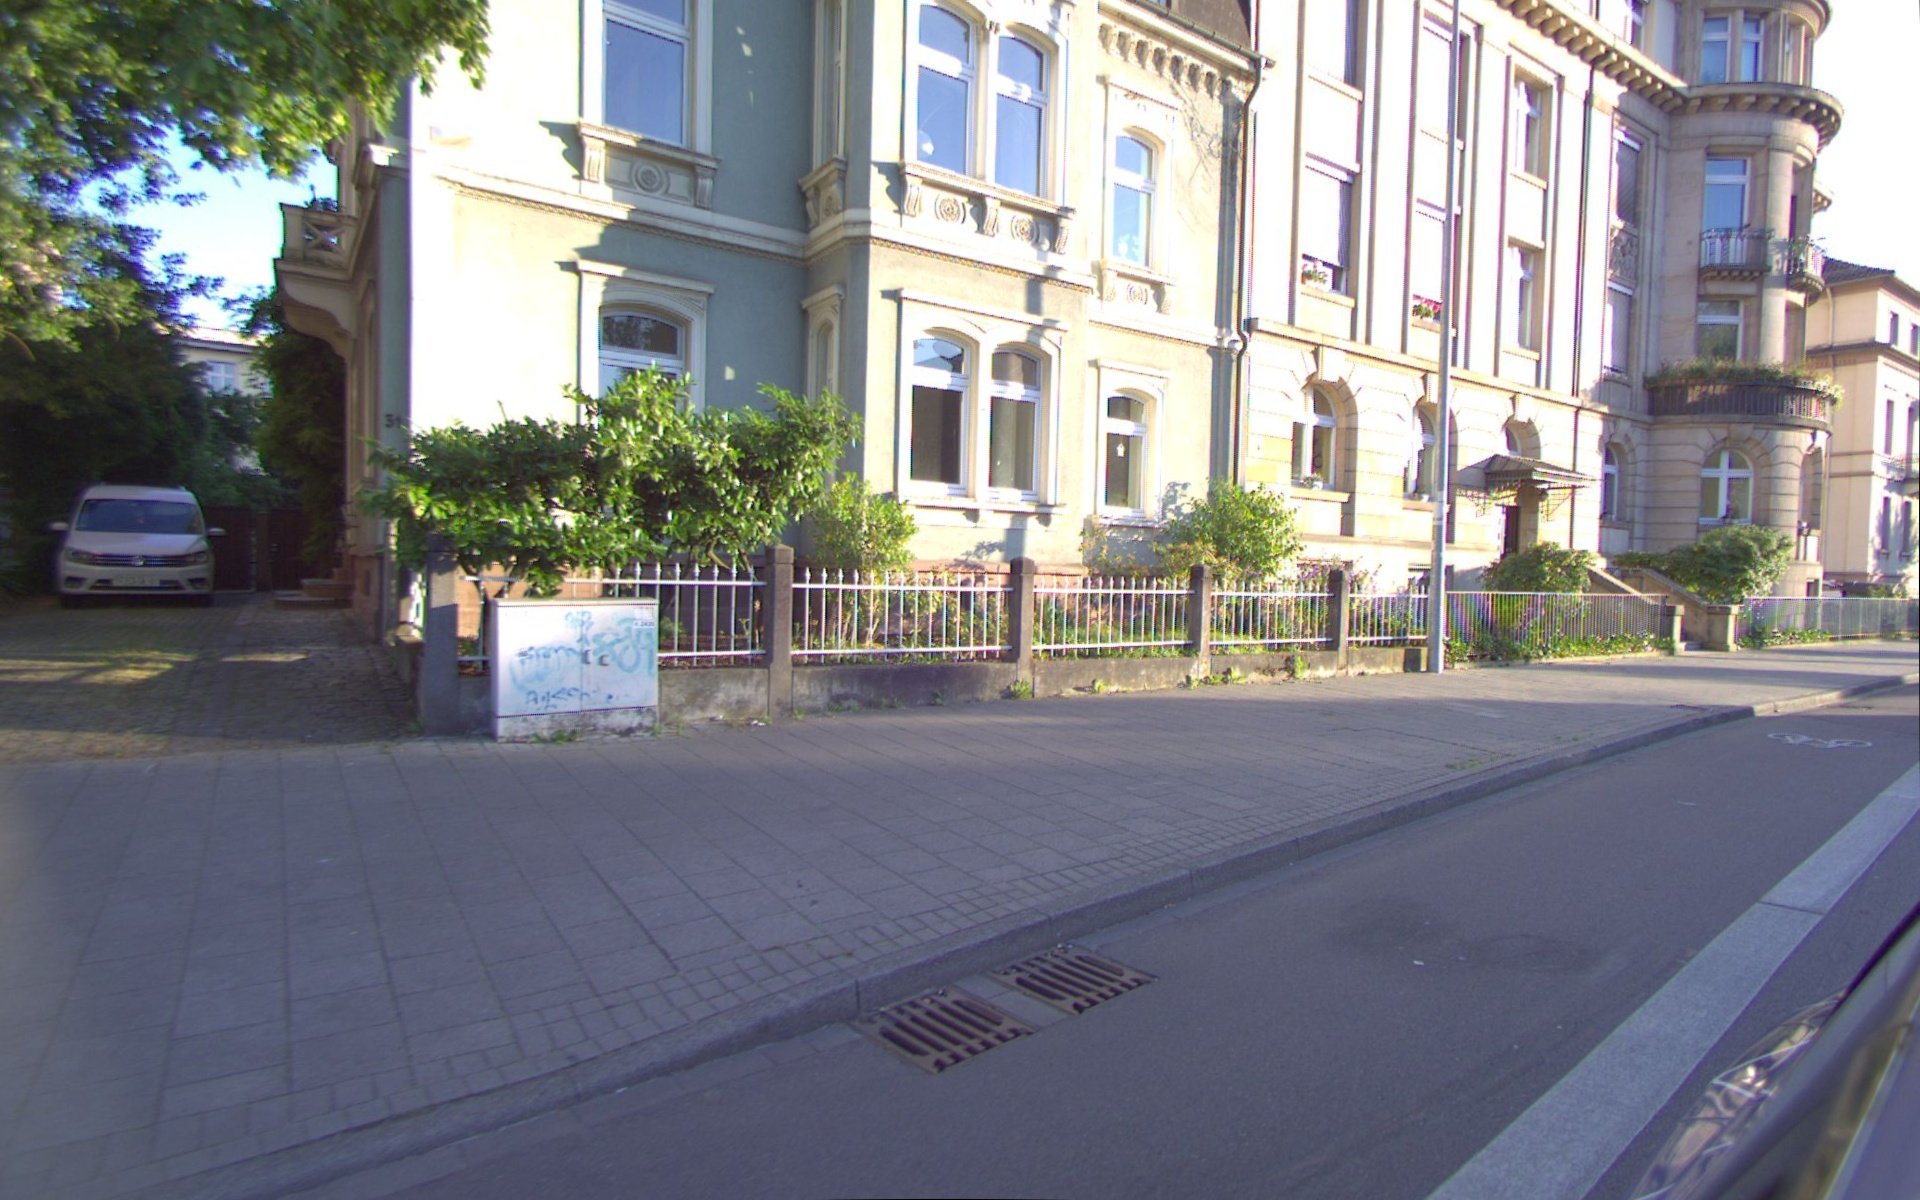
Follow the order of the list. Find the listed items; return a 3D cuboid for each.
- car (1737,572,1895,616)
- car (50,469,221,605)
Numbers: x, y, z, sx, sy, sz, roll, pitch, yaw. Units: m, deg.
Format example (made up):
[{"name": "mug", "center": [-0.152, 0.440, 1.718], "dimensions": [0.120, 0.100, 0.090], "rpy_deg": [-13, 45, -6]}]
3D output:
[{"name": "car", "center": [31.524, -0.270, 37.378], "dimensions": [1.901, 1.499, 4.102], "rpy_deg": [0, 2, -34]}, {"name": "car", "center": [-12.772, -0.986, 15.682], "dimensions": [1.793, 1.778, 4.519], "rpy_deg": [1, 3, -40]}]
